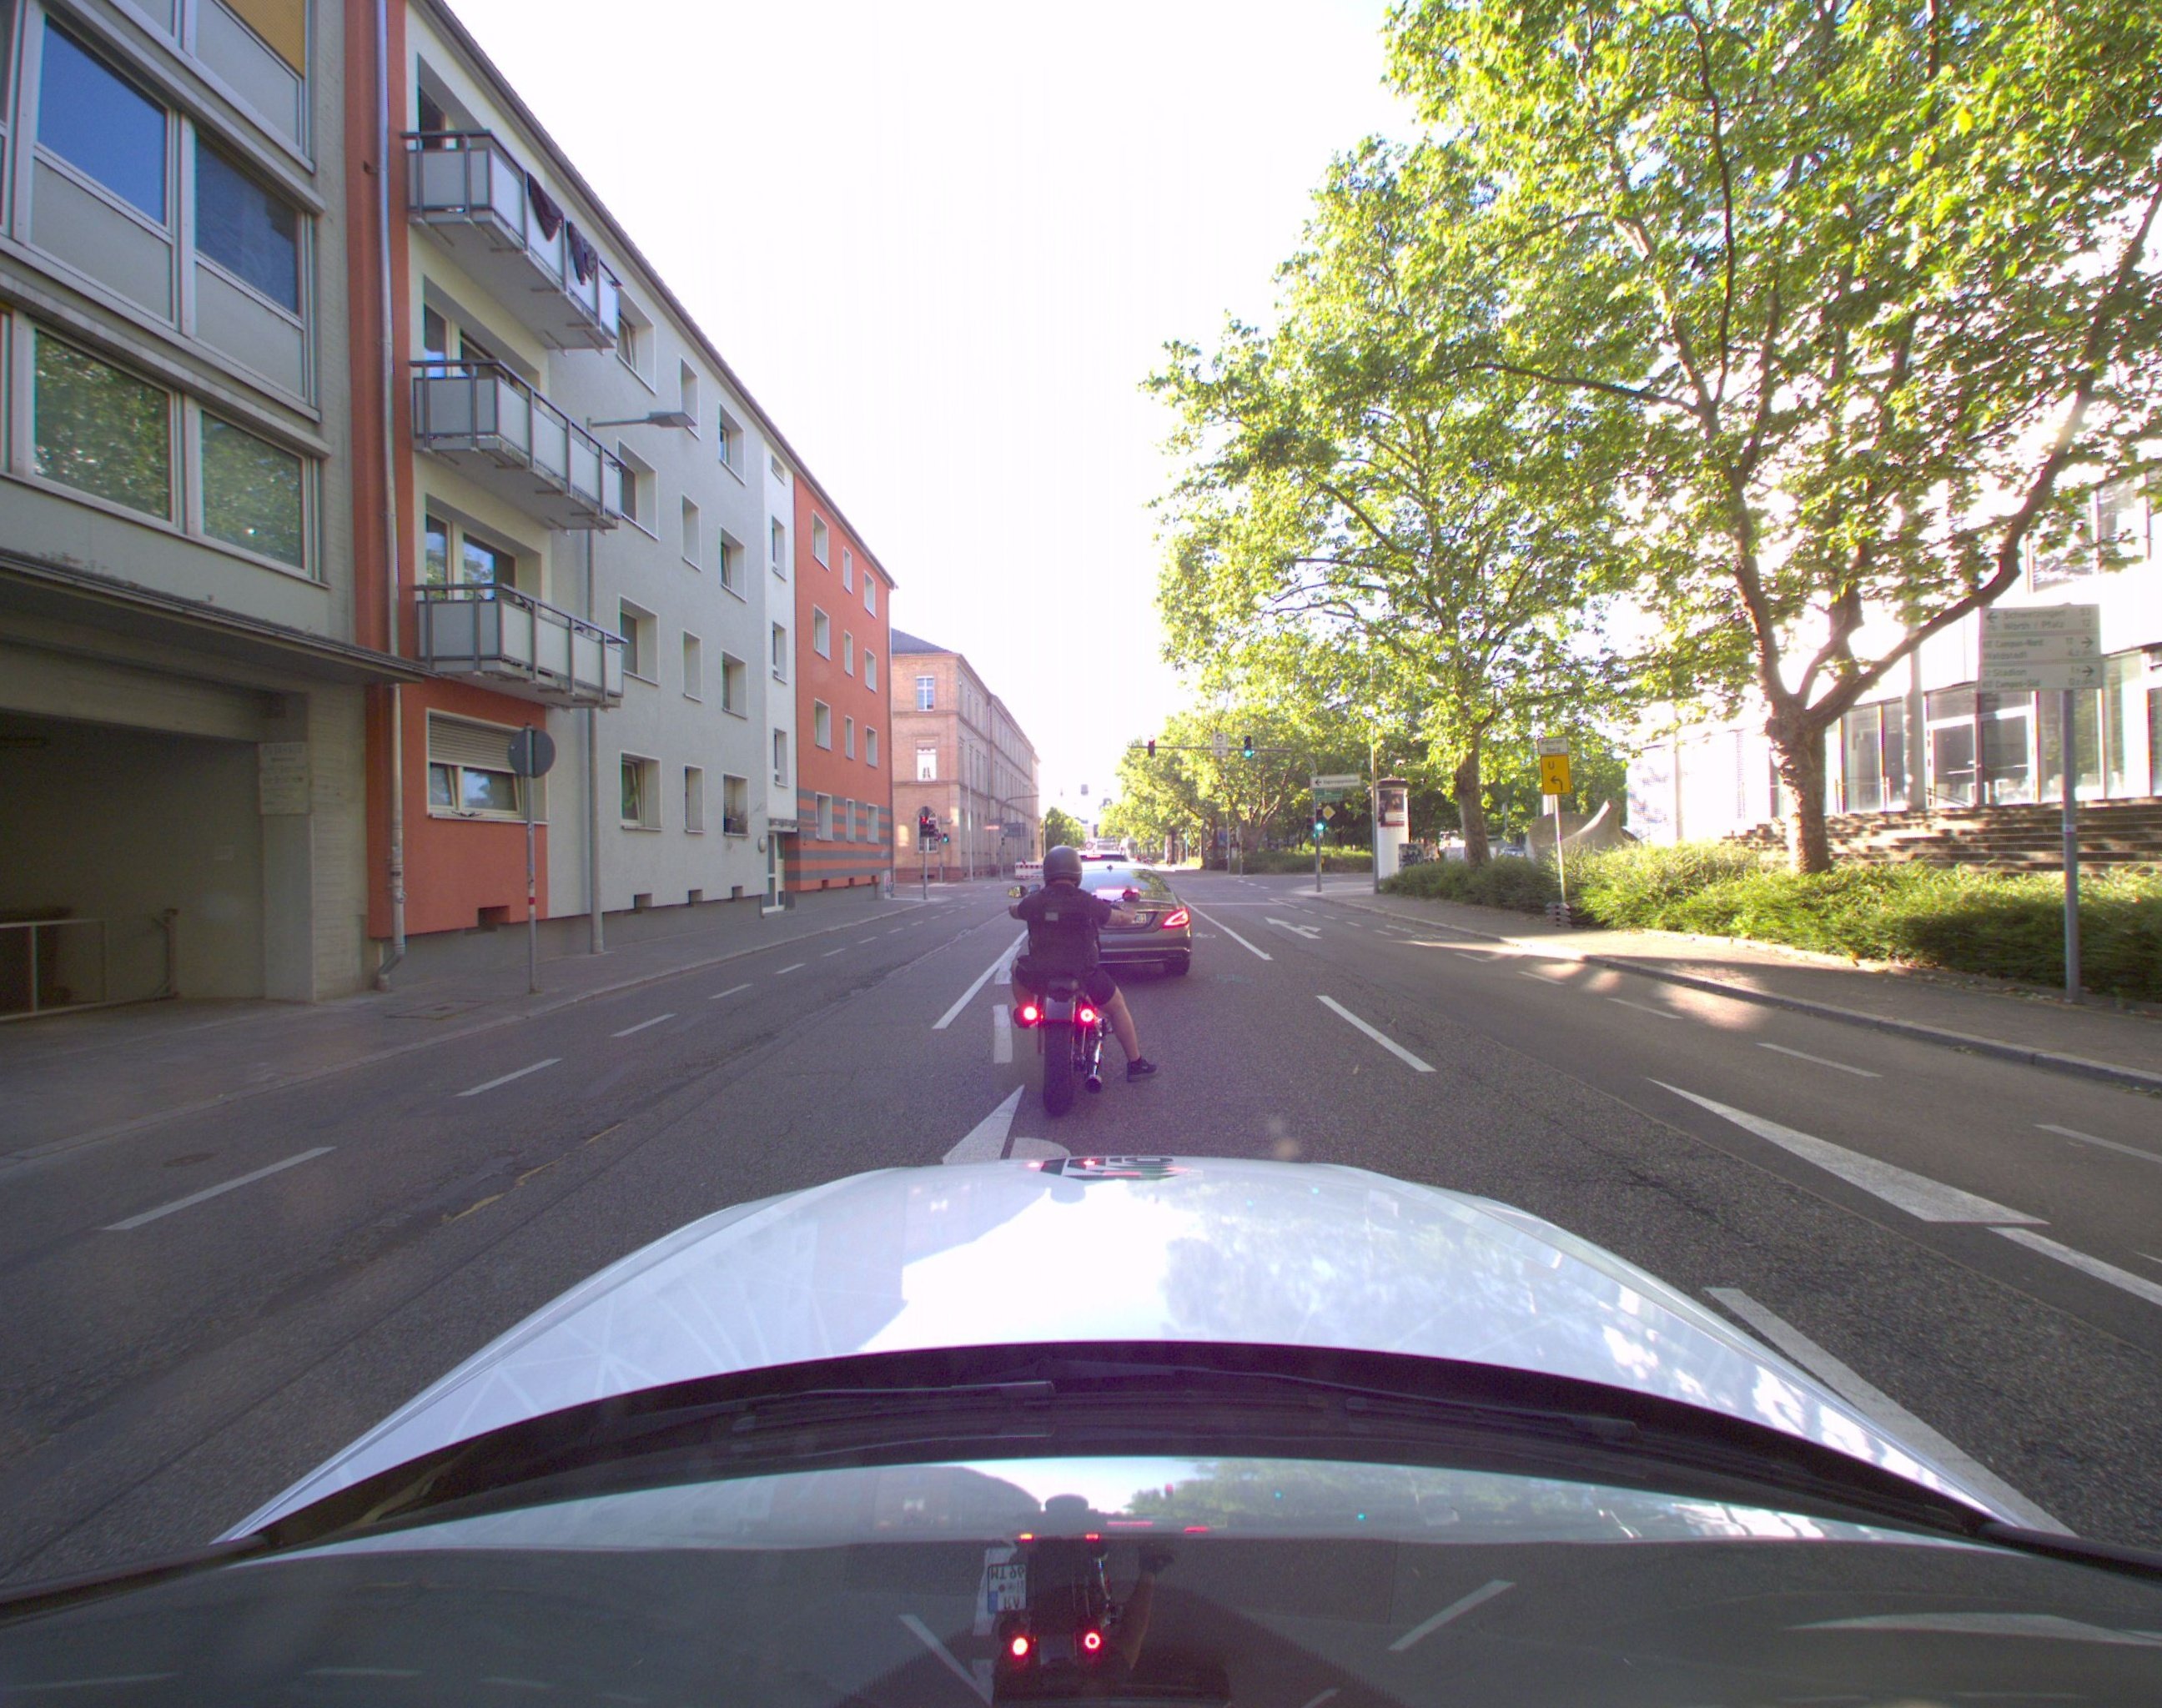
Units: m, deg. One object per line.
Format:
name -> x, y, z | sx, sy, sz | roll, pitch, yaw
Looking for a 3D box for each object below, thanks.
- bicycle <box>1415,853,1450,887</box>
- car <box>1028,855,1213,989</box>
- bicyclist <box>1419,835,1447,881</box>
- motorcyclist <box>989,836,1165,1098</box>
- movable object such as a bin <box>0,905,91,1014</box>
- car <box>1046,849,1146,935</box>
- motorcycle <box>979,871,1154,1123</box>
bicycle -> 12.480, 0.544, 28.885 | 0.709, 1.172, 2.190 | -1, -1, 35
car -> 0.312, 0.760, 11.238 | 1.900, 1.441, 4.279 | -1, 0, -6
bicyclist -> 12.515, 0.148, 28.924 | 0.709, 1.582, 0.942 | -1, -1, 35
motorcyclist -> -0.011, 0.690, 5.392 | 1.057, 1.582, 0.908 | 0, -1, 1
movable object such as a bin -> -11.330, 1.099, 8.650 | 0.736, 1.074, 0.716 | 0, -1, 2
car -> 0.264, 0.697, 16.896 | 1.808, 1.536, 3.847 | -1, 0, -1
motorcycle -> -0.046, 0.815, 5.662 | 0.958, 1.357, 2.321 | 0, -1, 2
